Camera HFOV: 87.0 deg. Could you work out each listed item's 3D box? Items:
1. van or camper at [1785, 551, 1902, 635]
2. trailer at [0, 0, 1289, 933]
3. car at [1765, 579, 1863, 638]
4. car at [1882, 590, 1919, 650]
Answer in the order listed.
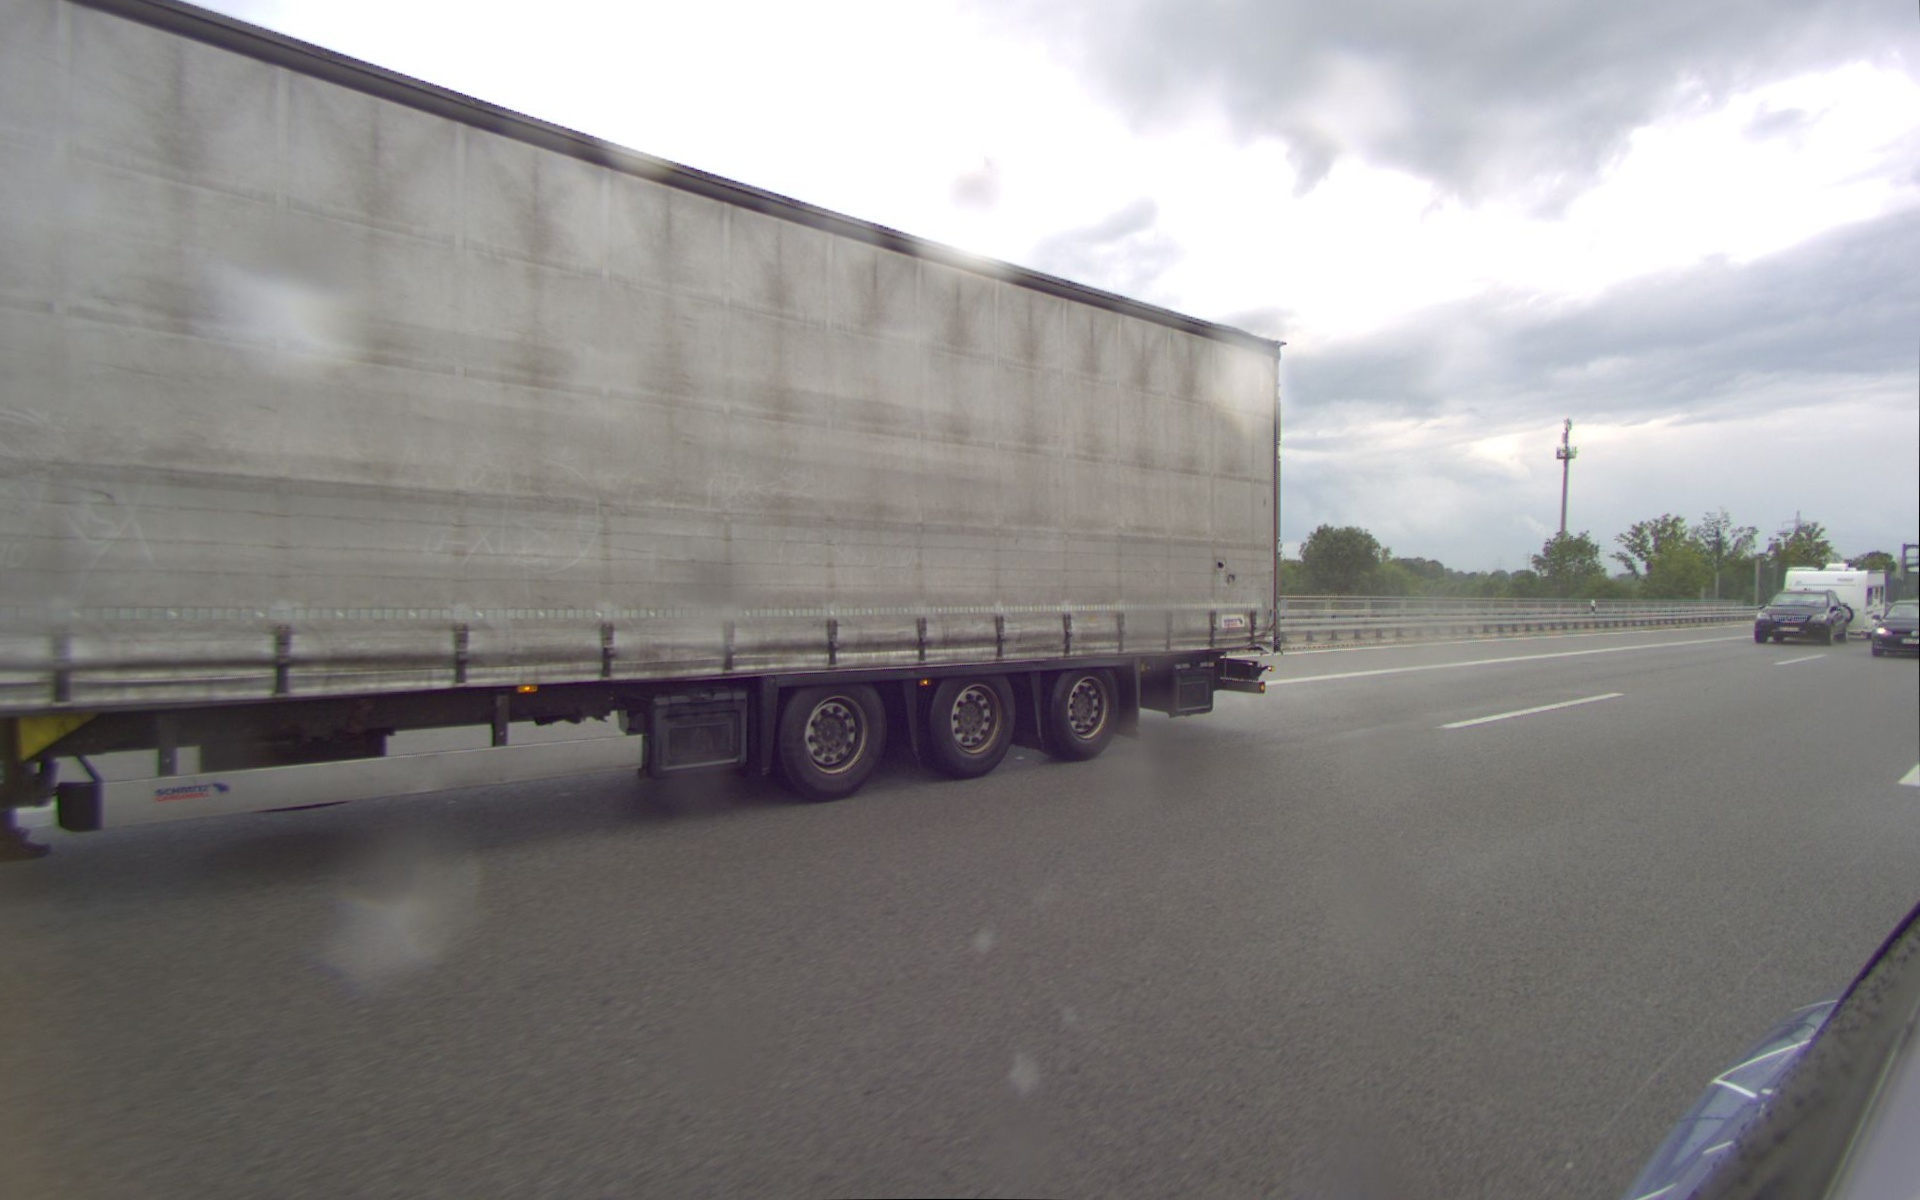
[{"bbox_3d":[32.225,-0.224,36.802,7.085,2.773,2.387,0,0,-42],"label":"van or camper"},{"bbox_3d":[-2.795,-0.721,6.884,13.873,4.070,2.966,1,0,-42],"label":"trailer"},{"bbox_3d":[27.876,0.248,32.978,4.426,1.798,1.922,0,1,-43],"label":"car"},{"bbox_3d":[25.303,0.512,26.251,3.932,1.464,1.715,0,1,-43],"label":"car"}]
